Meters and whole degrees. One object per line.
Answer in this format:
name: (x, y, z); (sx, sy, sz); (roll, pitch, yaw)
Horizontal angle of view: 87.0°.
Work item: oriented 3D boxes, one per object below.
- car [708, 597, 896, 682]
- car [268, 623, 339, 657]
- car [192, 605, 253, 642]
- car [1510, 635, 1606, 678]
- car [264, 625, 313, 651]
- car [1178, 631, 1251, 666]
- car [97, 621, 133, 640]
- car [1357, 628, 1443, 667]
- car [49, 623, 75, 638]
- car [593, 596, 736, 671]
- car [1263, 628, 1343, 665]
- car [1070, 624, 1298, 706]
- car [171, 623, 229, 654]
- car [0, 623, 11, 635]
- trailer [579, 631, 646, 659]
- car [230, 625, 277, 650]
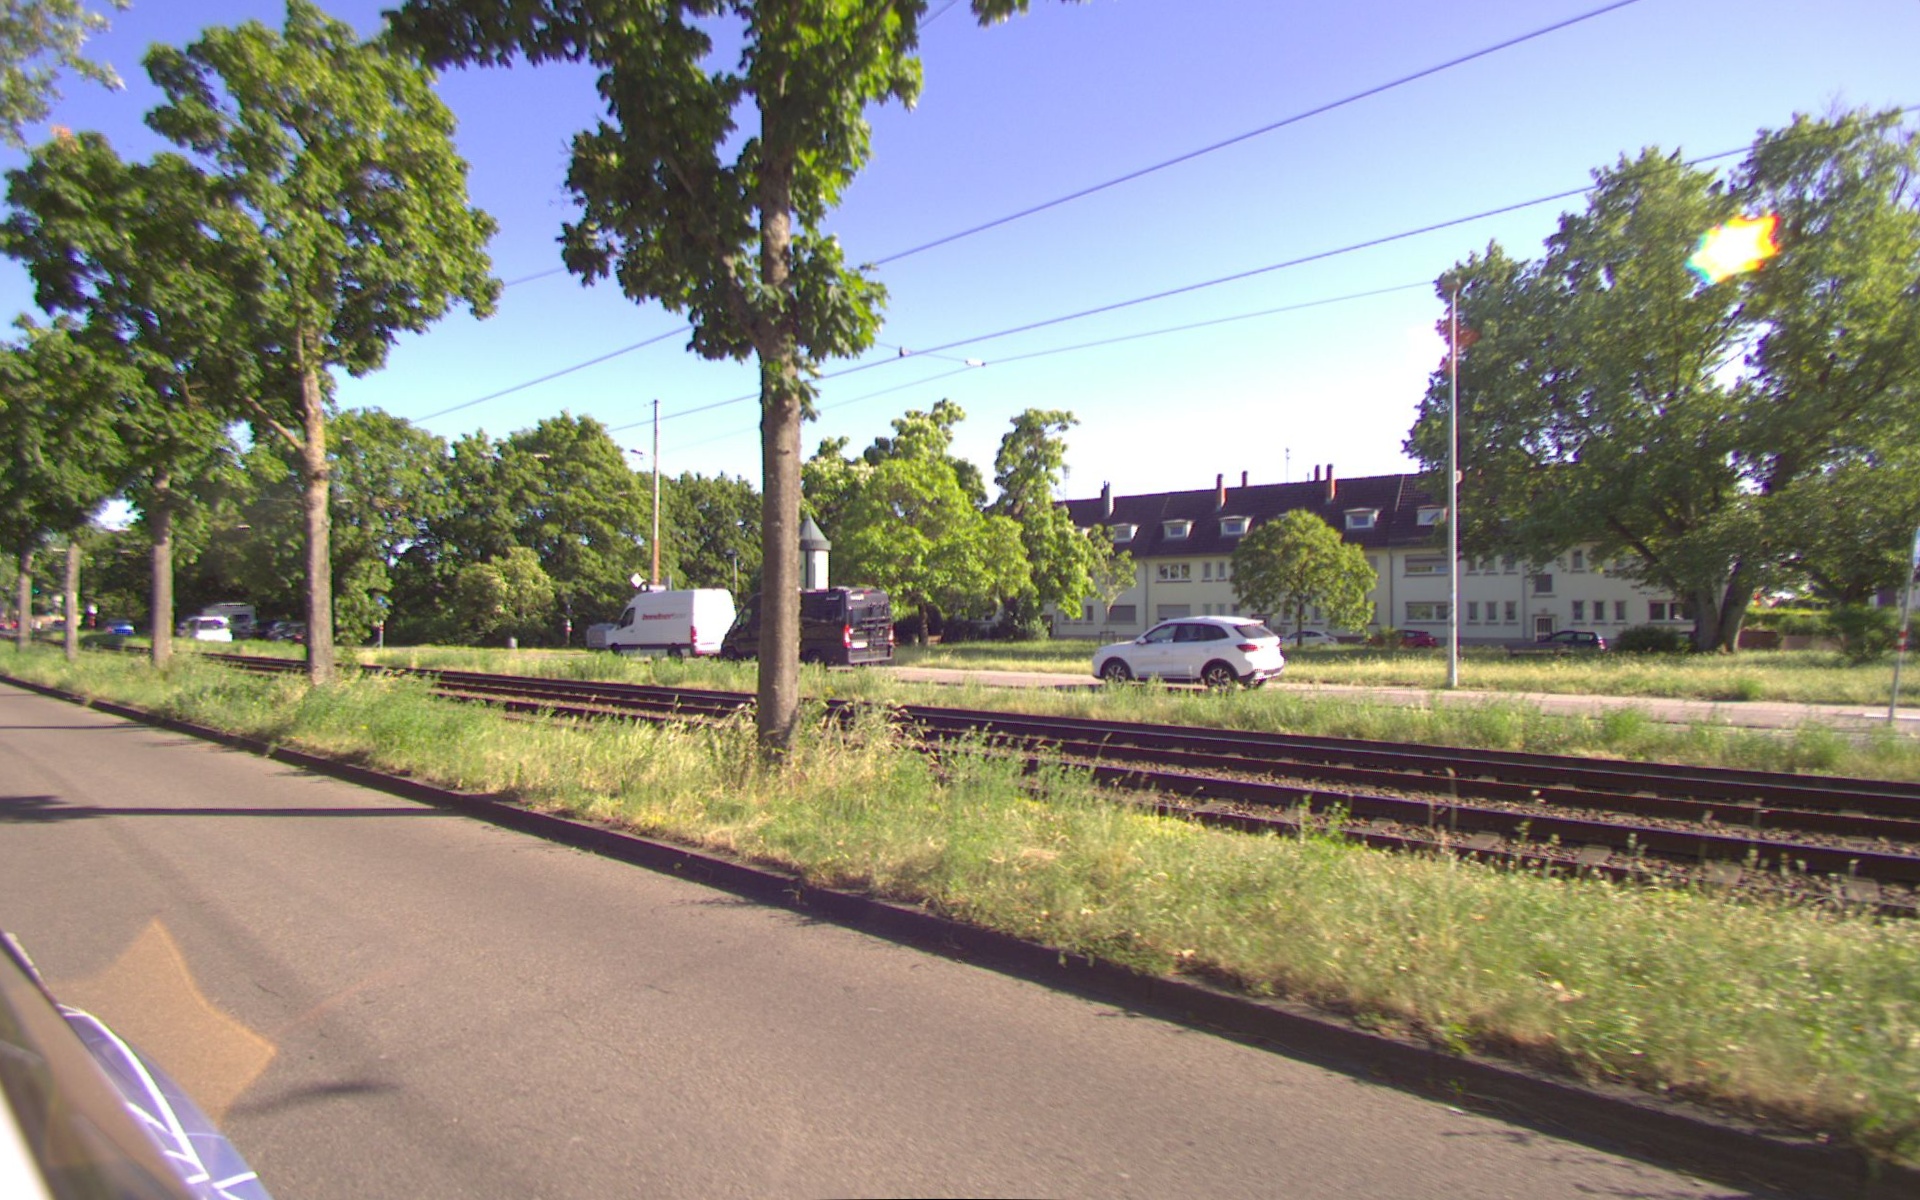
car: (-5.031, 1.161, 31.489); (6.461, 2.394, 2.160); (-1, -1, 41)
car: (-31.424, 1.897, 48.433); (3.750, 1.543, 1.972); (-2, -2, 42)
car: (-54.344, 1.749, 74.523); (6.795, 2.600, 2.202); (-2, -2, 41)
car: (30.556, 2.865, 51.765); (3.996, 2.029, 1.974); (-1, -1, 39)
car: (-43.151, 2.398, 64.983); (4.248, 1.596, 1.656); (-1, -1, 43)
car: (15.617, 2.941, 62.152); (3.987, 2.029, 1.978); (-1, -1, 33)
car: (-65.427, 2.369, 78.358); (3.818, 1.405, 1.541); (-1, -1, 41)
car: (24.250, 2.601, 55.825); (3.993, 2.029, 1.975); (-1, -1, 37)
car: (-100.949, 3.424, 113.794); (4.441, 1.539, 1.708); (-1, -1, 42)
car: (-10.816, 1.180, 36.762); (6.133, 2.515, 1.981); (-1, -1, 41)
car: (19.981, 2.670, 58.994); (3.992, 2.029, 1.976); (-1, -1, 36)
car: (4.951, 1.379, 22.839); (4.772, 1.619, 1.804); (-1, -1, 41)
car: (-44.925, 2.246, 59.797); (4.979, 1.757, 1.792); (-1, -1, 41)
car: (-123.319, 3.747, 129.934); (4.441, 1.539, 1.708); (-1, -1, 42)
trailer: (-20.228, 2.591, 59.115); (1.741, 1.515, 3.733); (-1, -1, 21)
car: (-48.547, 2.524, 69.531); (4.530, 1.635, 1.605); (-1, -1, 41)
